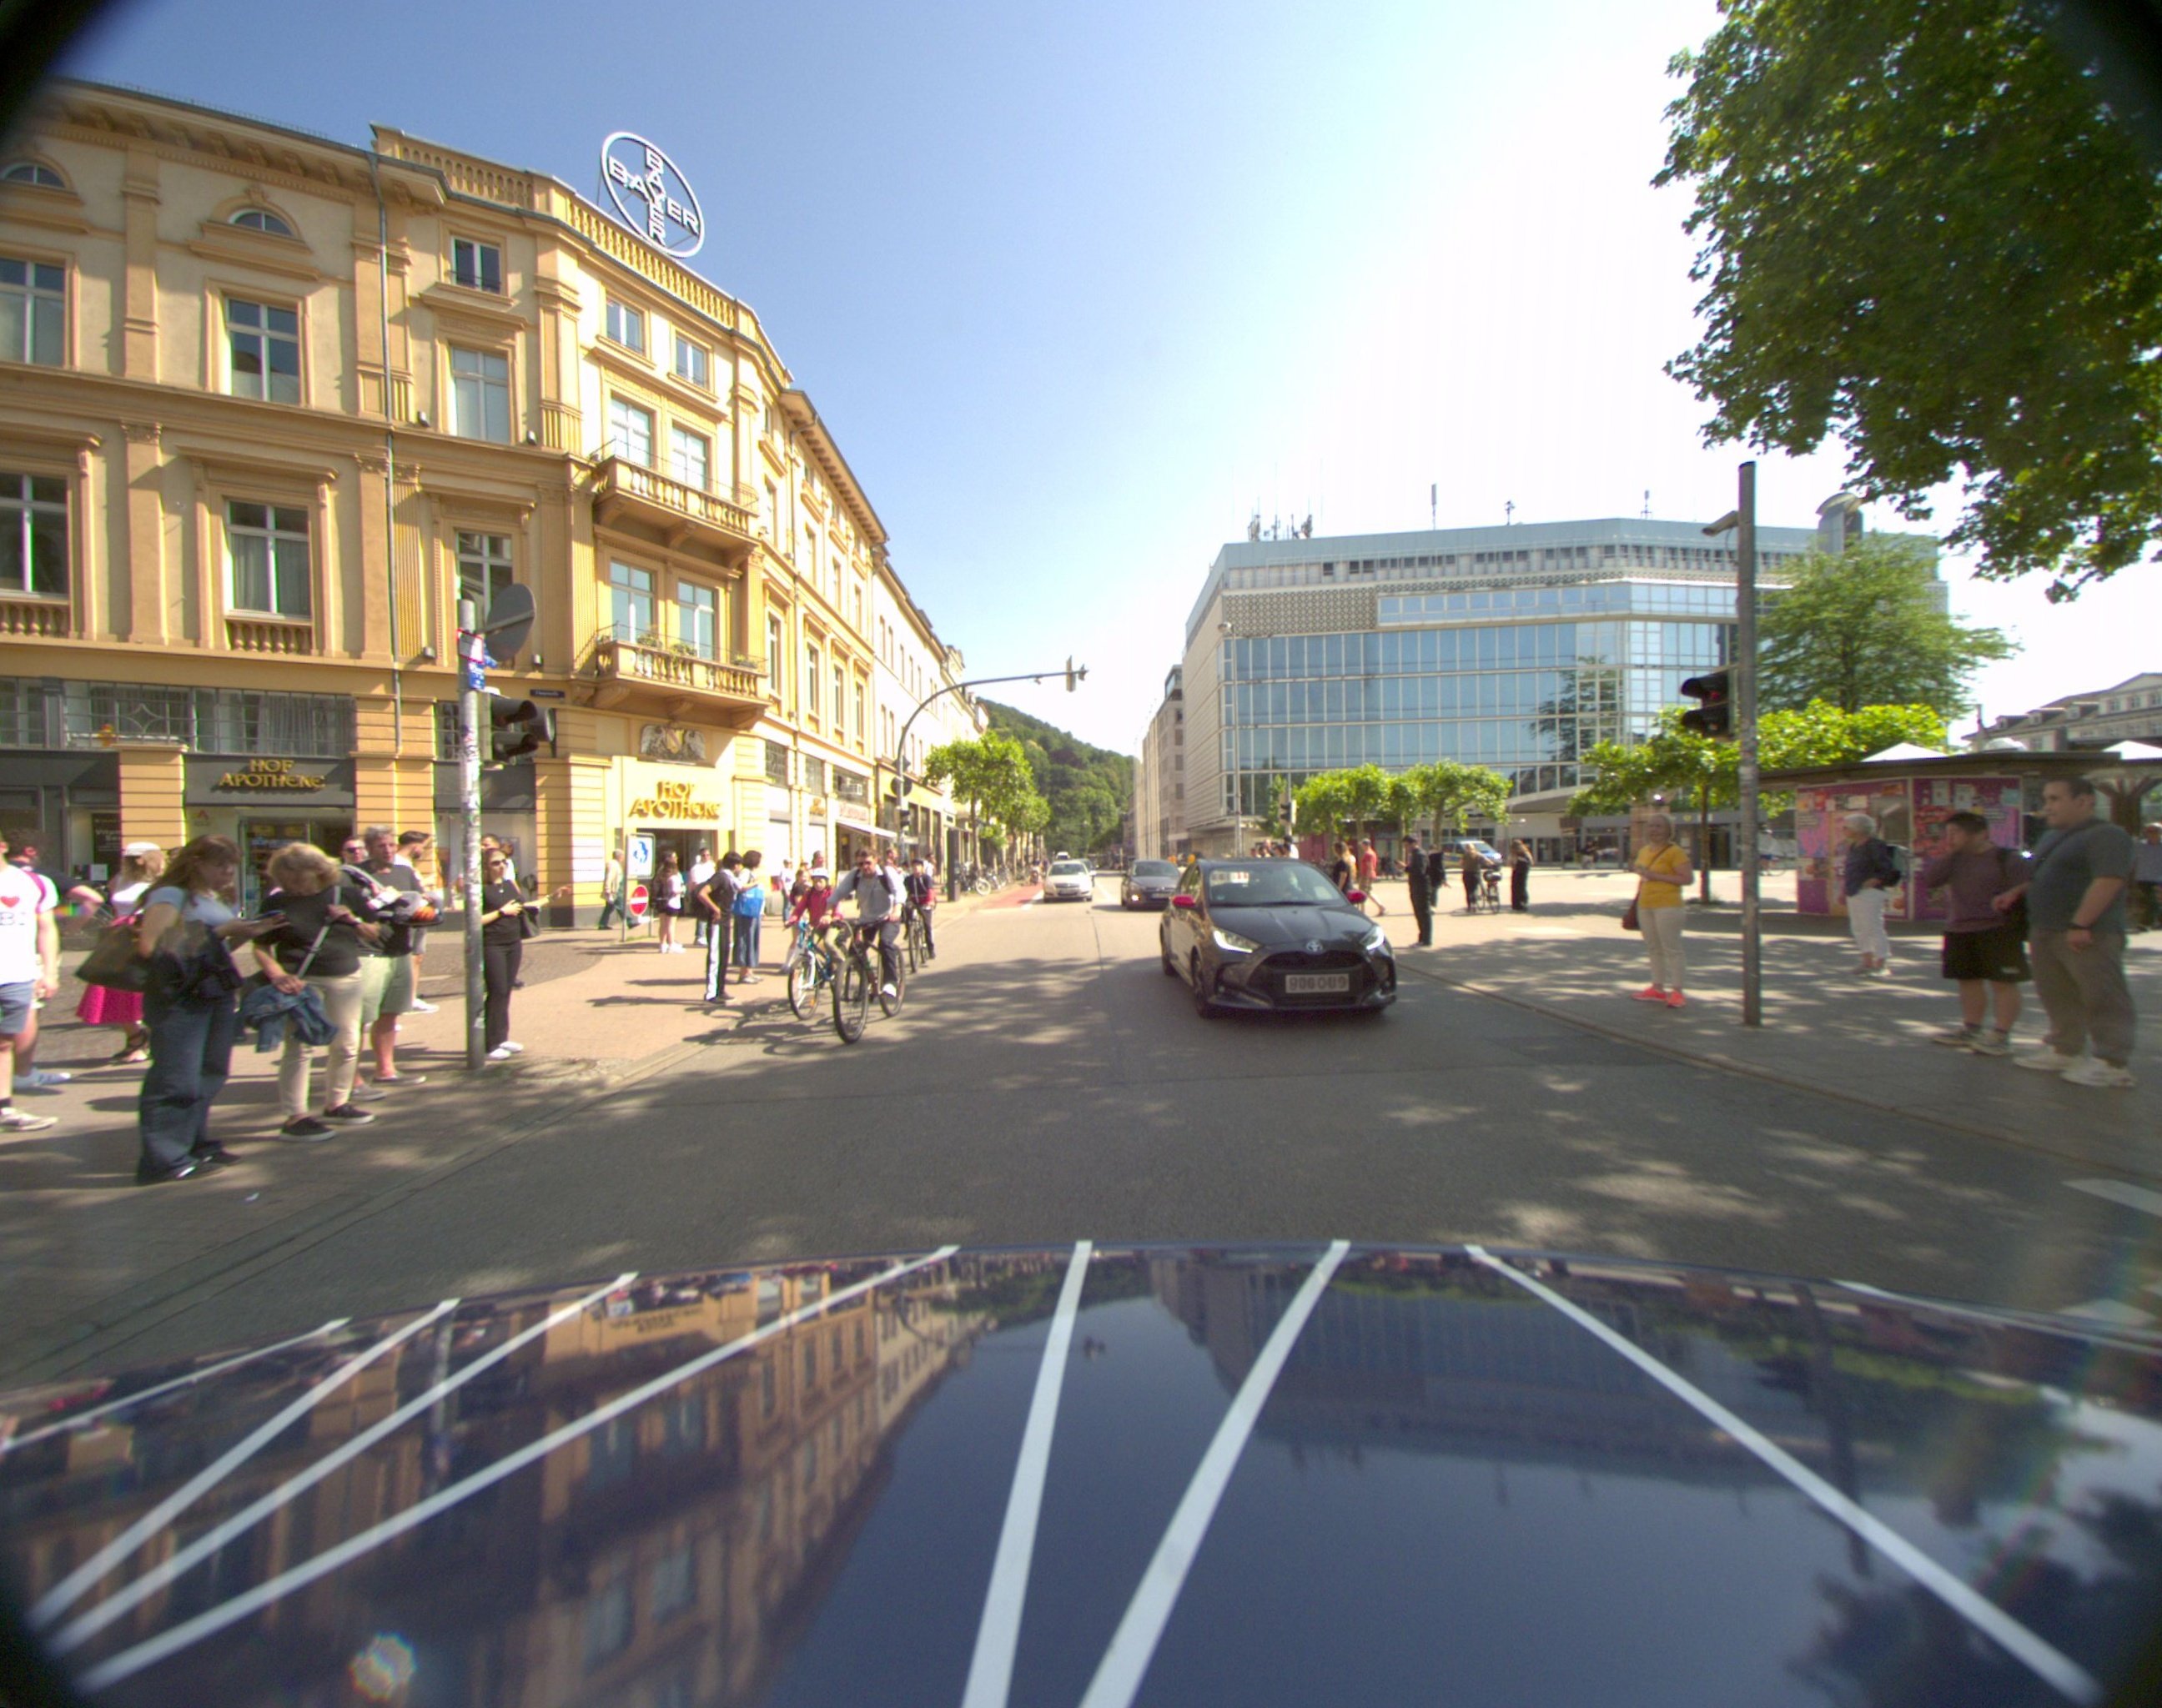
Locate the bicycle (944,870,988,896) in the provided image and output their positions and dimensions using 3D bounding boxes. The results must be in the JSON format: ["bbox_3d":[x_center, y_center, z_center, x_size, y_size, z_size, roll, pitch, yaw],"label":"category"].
[{"bbox_3d":[-4.860,1.237,32.161,1.757,1.029,0.592,-1,1,-3],"label":"bicycle"}]

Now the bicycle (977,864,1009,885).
[{"bbox_3d":[-5.078,1.176,44.058,1.757,1.140,0.592,-1,1,-3],"label":"bicycle"}]

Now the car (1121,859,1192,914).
[{"bbox_3d":[2.131,0.896,22.386,1.699,1.397,3.999,0,1,0],"label":"car"}]

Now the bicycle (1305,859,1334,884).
[{"bbox_3d":[11.501,0.824,36.700,0.592,1.140,1.757,-2,1,-8],"label":"bicycle"}]

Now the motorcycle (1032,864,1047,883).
[{"bbox_3d":[-2.536,1.191,46.413,0.736,1.086,1.897,-3,1,0],"label":"motorcycle"}]

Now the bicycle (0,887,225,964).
[{"bbox_3d":[-17.628,1.271,13.919,2.421,1.145,0.780,-3,1,-24],"label":"bicycle"}]

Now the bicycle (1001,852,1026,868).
[{"bbox_3d":[-4.931,0.455,55.653,1.757,1.140,0.592,-1,1,-3],"label":"bicycle"}]

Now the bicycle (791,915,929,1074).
[{"bbox_3d":[-1.989,1.223,7.132,0.736,1.086,1.897,-3,1,-2],"label":"bicycle"}]

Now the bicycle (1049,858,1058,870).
[{"bbox_3d":[-2.549,0.899,70.223,0.736,1.086,1.897,-3,1,0],"label":"bicycle"}]

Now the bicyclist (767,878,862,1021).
[{"bbox_3d":[-2.826,0.987,8.130,0.690,1.388,0.778,-3,1,-2],"label":"bicyclist"}]

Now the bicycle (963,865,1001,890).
[{"bbox_3d":[-4.756,1.133,36.683,1.757,1.140,0.592,-1,1,-3],"label":"bicycle"}]

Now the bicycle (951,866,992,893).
[{"bbox_3d":[-4.906,1.144,34.098,1.757,1.140,0.592,-1,1,-3],"label":"bicycle"}]

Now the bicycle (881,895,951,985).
[{"bbox_3d":[-2.418,1.222,11.323,0.667,1.086,1.897,-3,1,-3],"label":"bicycle"}]

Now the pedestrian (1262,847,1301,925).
[{"bbox_3d":[4.626,0.725,17.560,0.639,1.737,0.605,-3,1,-2],"label":"pedestrian"}]

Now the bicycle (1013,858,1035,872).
[{"bbox_3d":[-4.848,0.935,64.489,1.757,1.140,0.592,-1,1,-3],"label":"bicycle"}]

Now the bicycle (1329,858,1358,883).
[{"bbox_3d":[12.761,0.793,36.956,0.592,1.140,1.757,-2,1,-8],"label":"bicycle"}]

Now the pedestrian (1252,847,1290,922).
[{"bbox_3d":[4.547,0.722,18.242,0.639,1.737,0.733,-3,1,-2],"label":"pedestrian"}]

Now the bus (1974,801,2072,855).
[{"bbox_3d":[57.769,-1.665,46.458,12.202,2.774,2.384,-3,1,-33],"label":"bus"}]

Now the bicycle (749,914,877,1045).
[{"bbox_3d":[-2.813,1.276,8.199,0.736,1.086,1.819,-3,0,-2],"label":"bicycle"}]

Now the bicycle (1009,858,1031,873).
[{"bbox_3d":[-4.970,0.914,61.853,1.757,1.140,0.592,-1,1,-3],"label":"bicycle"}]

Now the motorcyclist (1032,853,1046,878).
[{"bbox_3d":[-2.562,0.706,46.481,0.736,1.446,0.706,-3,1,0],"label":"motorcyclist"}]

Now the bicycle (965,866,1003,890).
[{"bbox_3d":[-4.765,1.187,37.424,1.757,1.140,0.592,-1,1,-3],"label":"bicycle"}]

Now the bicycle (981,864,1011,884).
[{"bbox_3d":[-5.141,1.202,46.084,1.757,1.140,0.592,-1,1,-3],"label":"bicycle"}]

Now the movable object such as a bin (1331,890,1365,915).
[{"bbox_3d":[6.990,1.273,19.893,0.662,0.577,0.528,-3,1,-2],"label":"movable object such as a bin"}]

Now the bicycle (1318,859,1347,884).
[{"bbox_3d":[12.146,0.829,36.805,0.592,1.140,1.757,-2,1,-8],"label":"bicycle"}]

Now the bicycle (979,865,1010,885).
[{"bbox_3d":[-5.144,1.239,45.117,1.757,1.140,0.592,-1,1,-3],"label":"bicycle"}]

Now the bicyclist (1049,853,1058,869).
[{"bbox_3d":[-2.551,0.646,70.311,0.736,1.376,0.734,-3,1,0],"label":"bicyclist"}]

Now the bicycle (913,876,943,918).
[{"bbox_3d":[-4.431,1.216,21.929,0.737,1.086,1.895,2,0,-14],"label":"bicycle"}]

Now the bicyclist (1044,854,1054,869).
[{"bbox_3d":[-2.764,0.647,65.673,0.726,1.271,0.715,-3,1,0],"label":"bicyclist"}]

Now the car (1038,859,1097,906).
[{"bbox_3d":[-0.452,0.972,27.563,1.918,1.401,3.999,-3,1,0],"label":"car"}]

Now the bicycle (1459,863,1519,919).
[{"bbox_3d":[9.484,0.838,17.732,0.729,1.137,1.914,-3,1,13],"label":"bicycle"}]

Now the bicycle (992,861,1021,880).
[{"bbox_3d":[-4.764,1.046,48.711,1.757,1.140,0.592,-1,1,-3],"label":"bicycle"}]

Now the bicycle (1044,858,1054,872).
[{"bbox_3d":[-2.755,0.958,65.640,0.736,1.086,1.897,-3,1,0],"label":"bicycle"}]

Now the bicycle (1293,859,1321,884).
[{"bbox_3d":[10.882,0.848,36.596,0.592,1.140,1.757,-2,1,-8],"label":"bicycle"}]

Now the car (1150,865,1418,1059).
[{"bbox_3d":[1.823,0.907,8.151,1.782,1.467,3.999,0,1,0],"label":"car"}]

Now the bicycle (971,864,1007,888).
[{"bbox_3d":[-4.711,1.133,38.901,1.757,1.140,0.592,-1,1,-3],"label":"bicycle"}]

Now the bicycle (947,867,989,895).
[{"bbox_3d":[-4.935,1.169,33.298,1.757,1.140,0.592,-1,1,-3],"label":"bicycle"}]

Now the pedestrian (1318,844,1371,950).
[{"bbox_3d":[4.433,0.702,12.802,0.575,1.704,0.651,-3,1,-2],"label":"pedestrian"}]

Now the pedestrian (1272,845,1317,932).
[{"bbox_3d":[4.441,0.696,15.846,0.639,1.737,0.733,-3,1,-2],"label":"pedestrian"}]

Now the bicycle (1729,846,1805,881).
[{"bbox_3d":[27.173,0.373,30.119,2.355,1.237,0.733,-3,1,-2],"label":"bicycle"}]

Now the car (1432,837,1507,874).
[{"bbox_3d":[23.082,0.065,45.266,2.000,2.002,3.997,-3,1,-7],"label":"car"}]

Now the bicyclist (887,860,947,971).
[{"bbox_3d":[-2.446,0.899,11.417,0.690,1.567,0.778,-3,1,-4],"label":"bicyclist"}]

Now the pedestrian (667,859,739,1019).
[{"bbox_3d":[-4.144,0.908,8.381,0.579,1.674,0.726,4,-2,-23],"label":"pedestrian"}]

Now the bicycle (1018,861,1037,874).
[{"bbox_3d":[-4.991,1.229,71.050,1.757,1.140,0.592,-1,1,-3],"label":"bicycle"}]

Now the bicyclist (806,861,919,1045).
[{"bbox_3d":[-2.004,0.876,7.081,0.750,1.567,0.778,-3,1,-2],"label":"bicyclist"}]

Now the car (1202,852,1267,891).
[{"bbox_3d":[9.079,0.999,44.673,1.994,2.002,4.007,-2,1,40],"label":"car"}]
